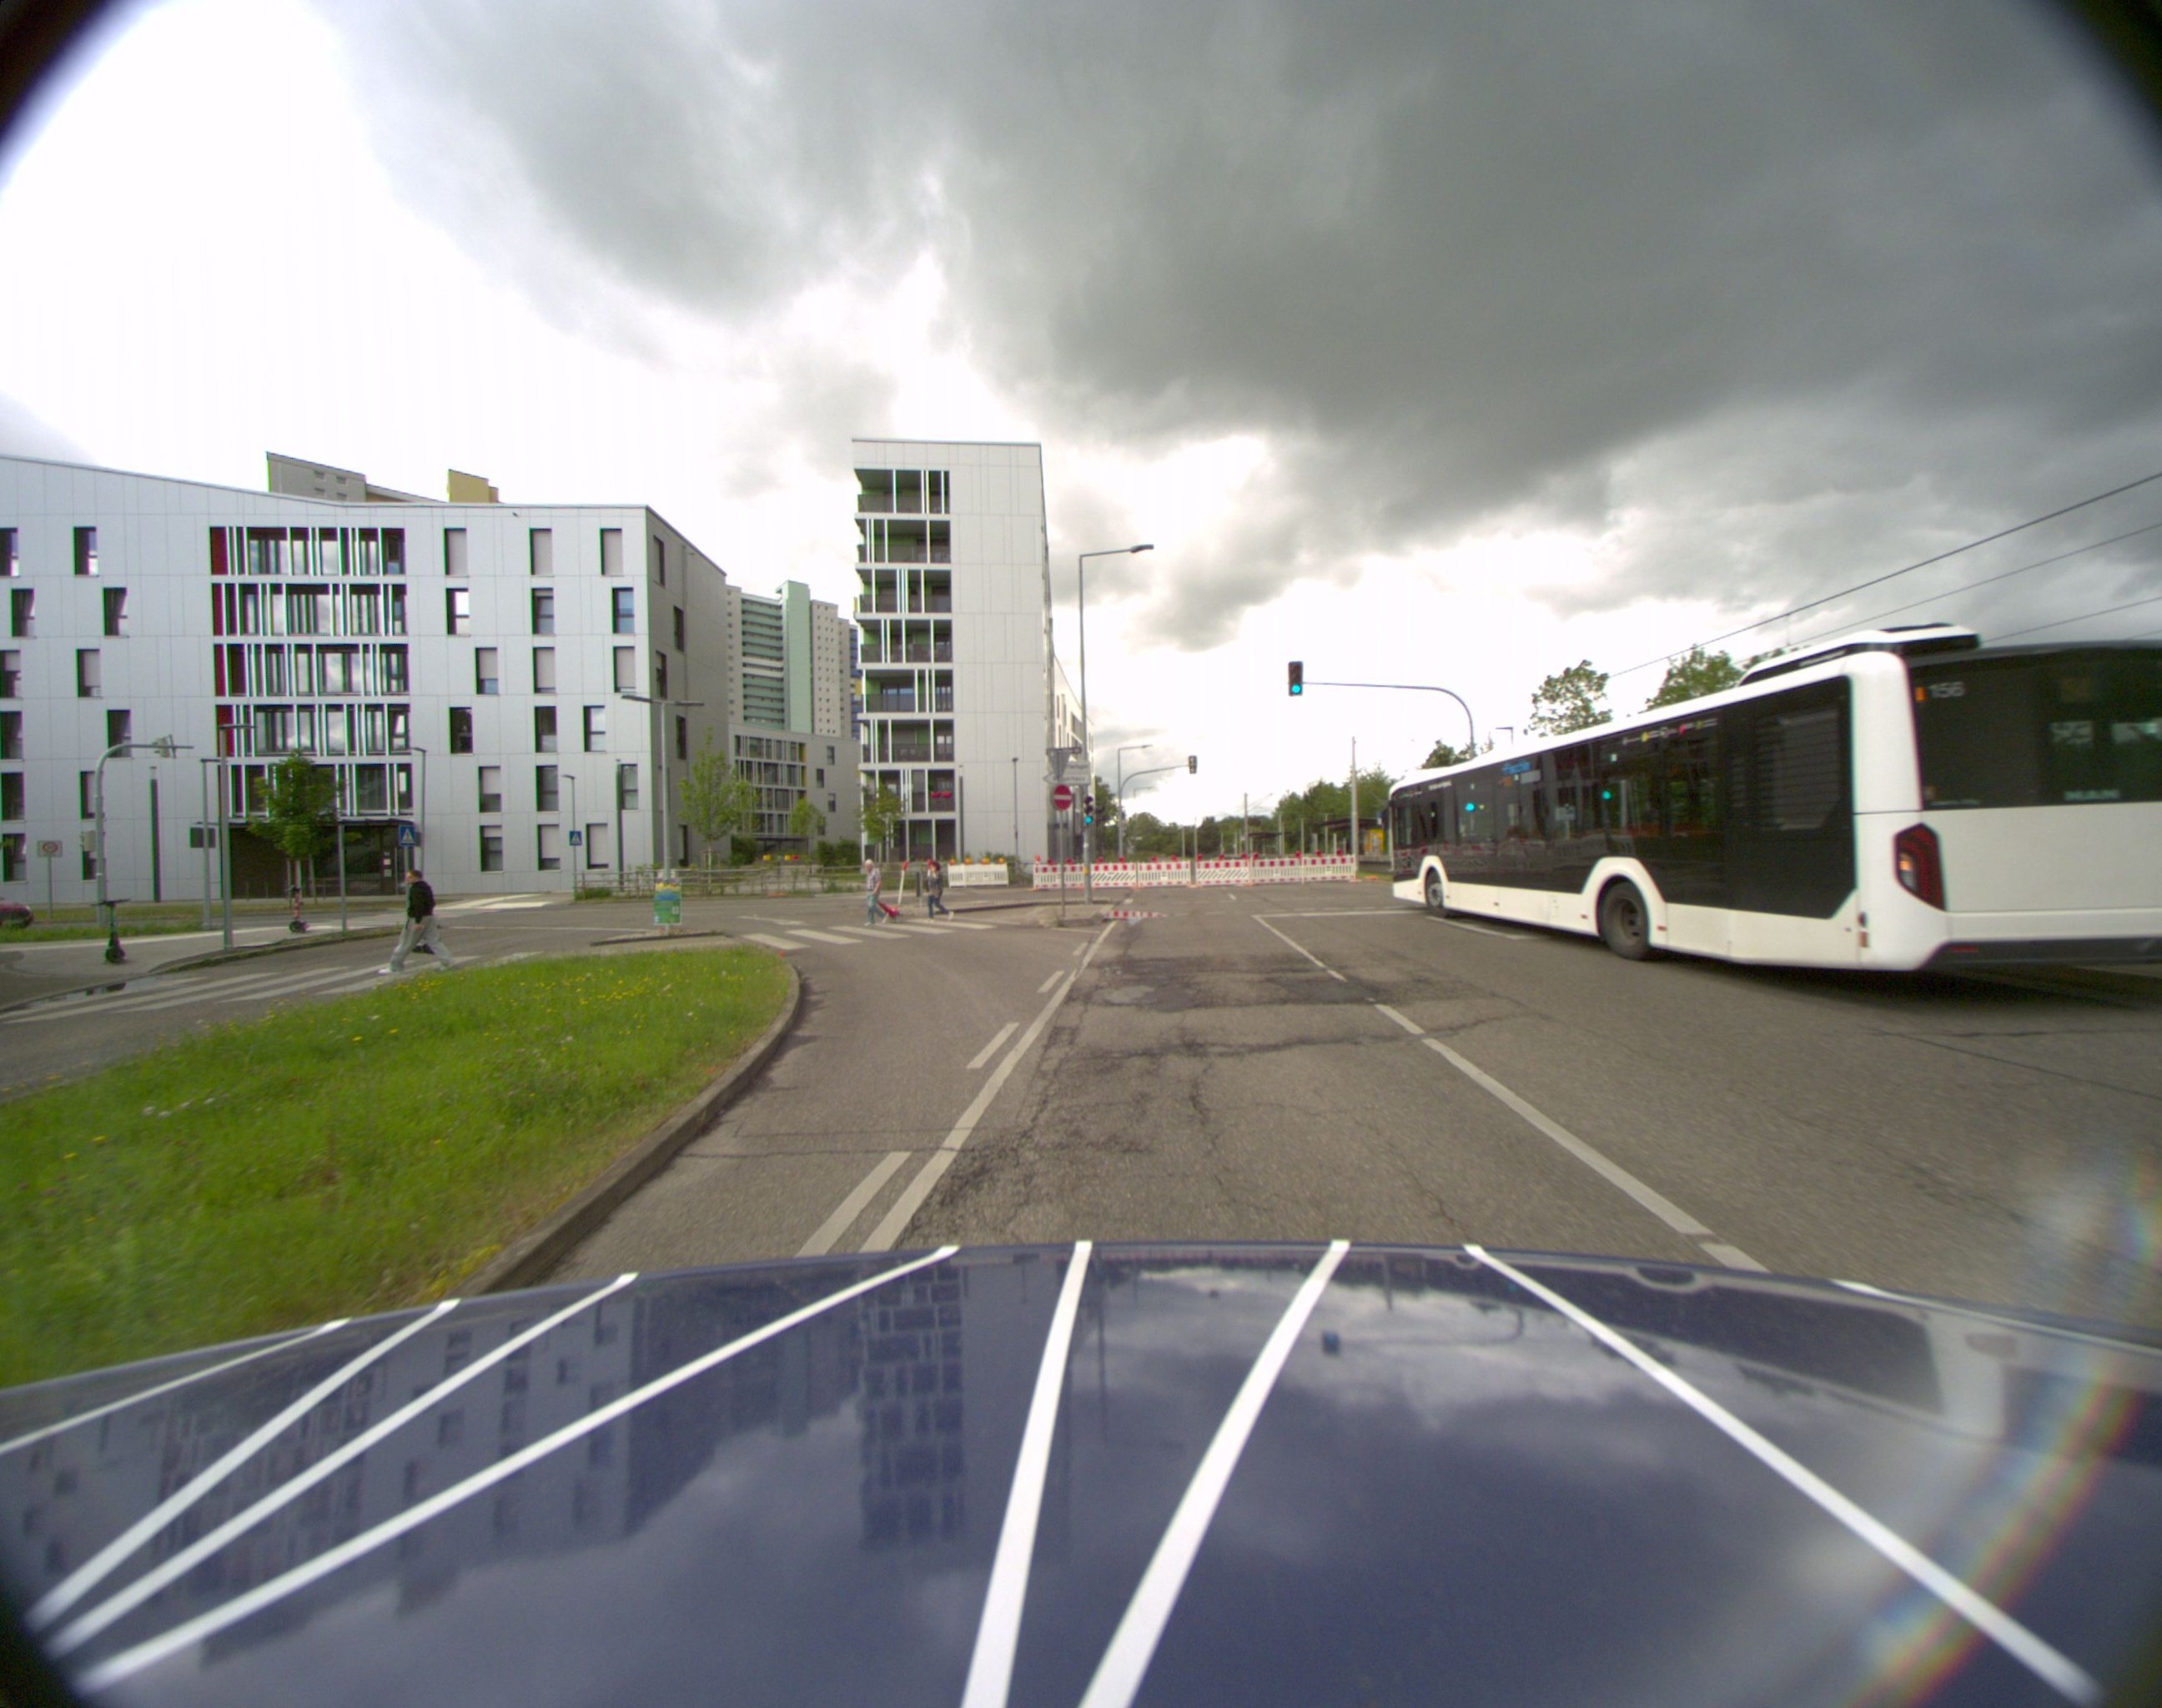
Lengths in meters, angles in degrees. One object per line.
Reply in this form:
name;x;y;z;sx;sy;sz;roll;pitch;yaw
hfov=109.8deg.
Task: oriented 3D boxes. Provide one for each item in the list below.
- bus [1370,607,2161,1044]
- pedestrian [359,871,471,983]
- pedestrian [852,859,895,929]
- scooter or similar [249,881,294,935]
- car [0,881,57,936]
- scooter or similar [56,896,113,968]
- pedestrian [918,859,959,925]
bus;7.616;-0.271;11.669;2.672;3.184;12.202;-1;1;5
pedestrian;-11.125;1.180;12.745;1.063;1.737;0.956;-2;1;-19
pedestrian;-4.990;0.947;18.308;0.721;1.625;0.699;0;3;12
scooter or similar;-21.476;1.405;20.180;0.573;1.305;1.521;-2;1;-38
car;-35.583;1.755;23.674;4.242;1.622;1.932;-1;2;-7
scooter or similar;-19.848;1.523;15.141;1.491;1.267;0.623;1;2;37
pedestrian;-3.486;0.916;18.631;0.731;1.558;0.693;-1;1;10
